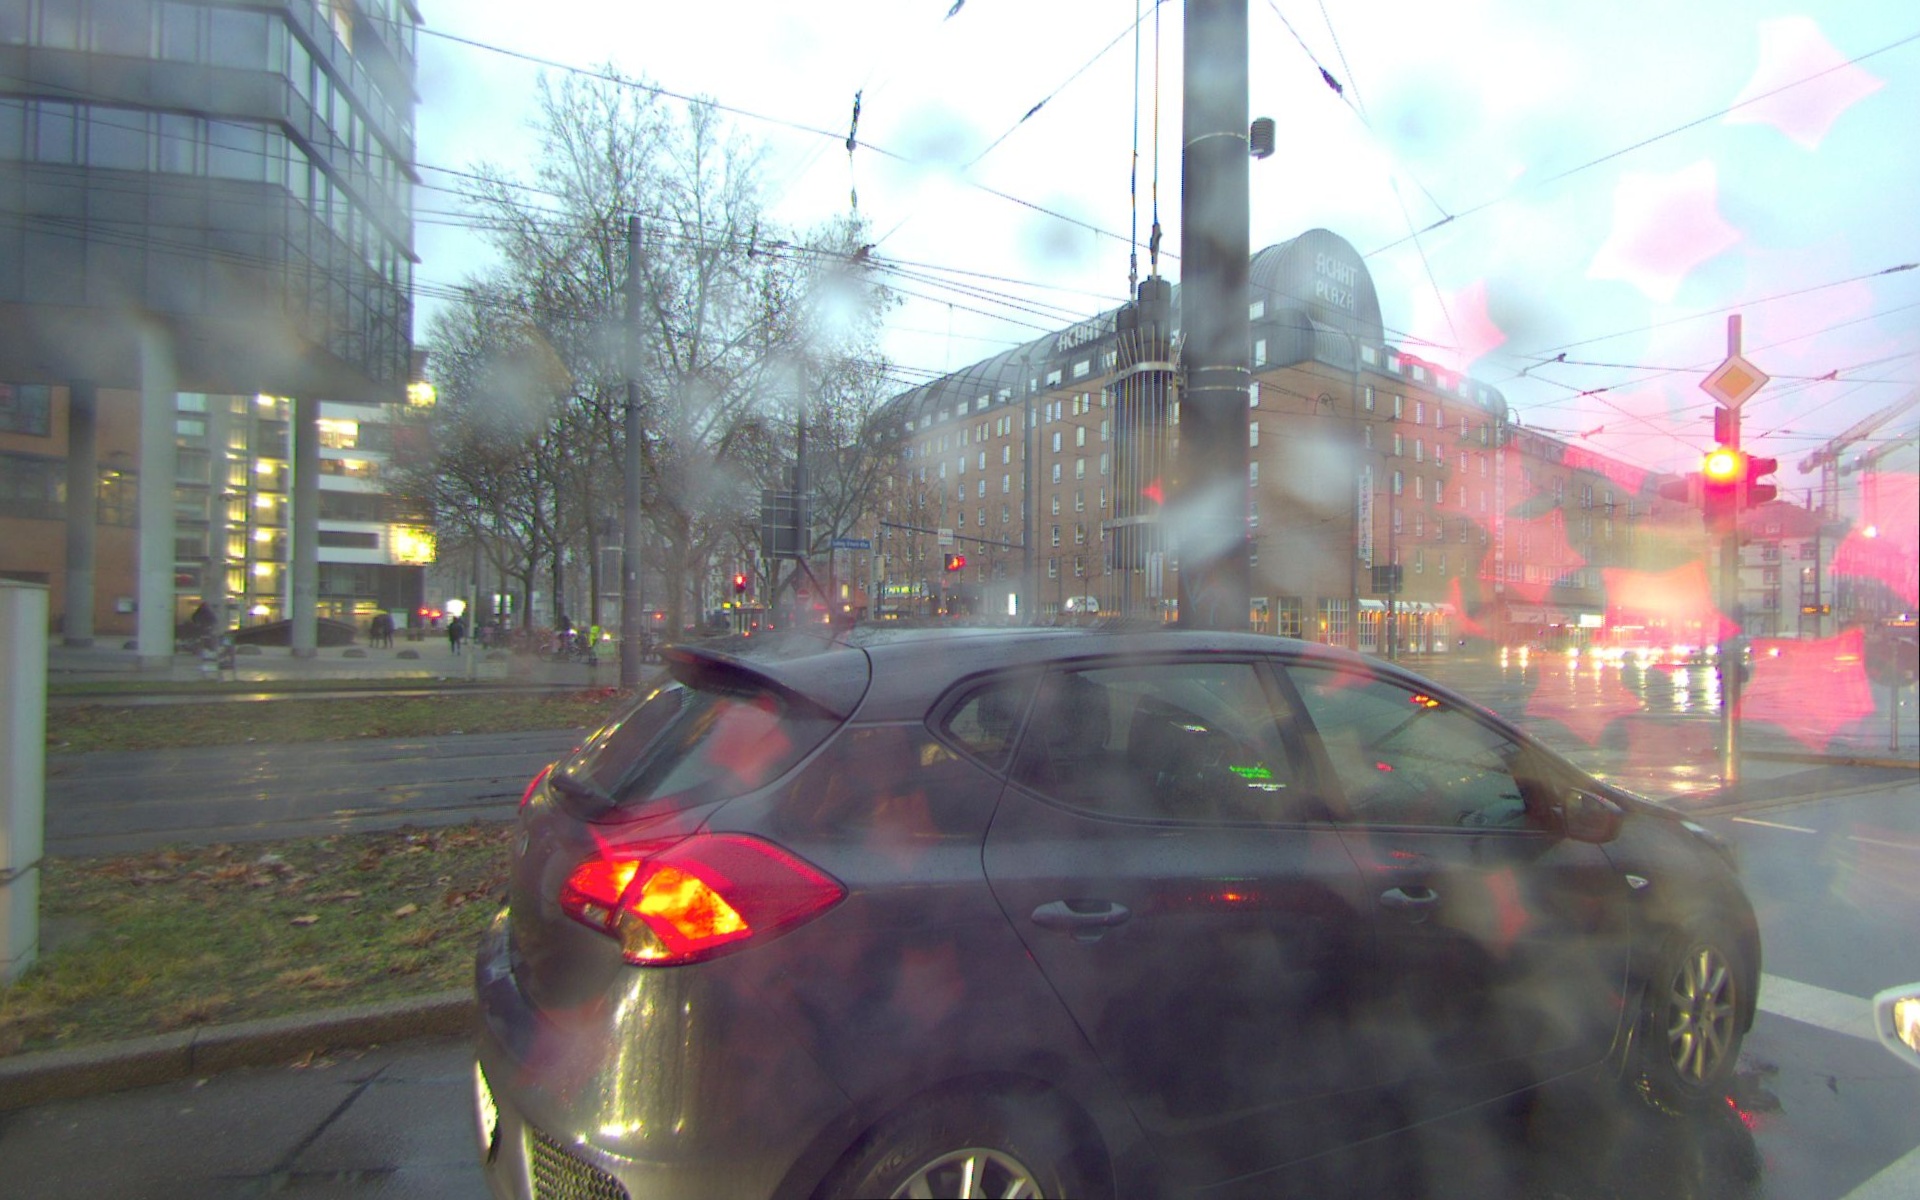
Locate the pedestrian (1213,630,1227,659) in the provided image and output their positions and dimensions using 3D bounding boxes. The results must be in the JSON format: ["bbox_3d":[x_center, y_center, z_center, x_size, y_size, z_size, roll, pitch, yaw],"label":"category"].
[{"bbox_3d":[14.445,2.464,55.719,0.566,1.558,0.517,1,-1,-21],"label":"pedestrian"}]

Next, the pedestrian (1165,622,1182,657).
[{"bbox_3d":[12.399,2.289,58.315,0.746,2.040,0.705,1,-1,-14],"label":"pedestrian"}]

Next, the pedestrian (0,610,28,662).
[{"bbox_3d":[-28.113,1.050,29.627,0.683,1.523,0.650,1,-1,-21],"label":"pedestrian"}]

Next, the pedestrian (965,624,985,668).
[{"bbox_3d":[0.715,2.186,47.836,0.746,2.040,0.798,1,-1,-14],"label":"pedestrian"}]

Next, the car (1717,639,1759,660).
[{"bbox_3d":[53.827,3.414,69.491,3.519,1.372,1.667,2,-1,-41],"label":"car"}]

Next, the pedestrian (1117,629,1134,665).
[{"bbox_3d":[9.391,2.651,57.079,0.746,2.040,0.705,1,-1,-14],"label":"pedestrian"}]

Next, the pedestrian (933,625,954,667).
[{"bbox_3d":[-0.815,2.256,49.417,0.696,2.040,0.757,0,-2,36],"label":"pedestrian"}]

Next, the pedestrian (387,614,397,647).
[{"bbox_3d":[-30.600,1.659,54.079,0.441,1.774,0.649,1,-1,-30],"label":"pedestrian"}]

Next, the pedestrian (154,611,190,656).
[{"bbox_3d":[-31.194,1.318,39.762,0.680,1.731,0.926,0,-1,-1],"label":"pedestrian"}]

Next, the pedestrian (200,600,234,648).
[{"bbox_3d":[-27.108,0.895,36.657,0.680,1.731,0.728,0,-1,-1],"label":"pedestrian"}]

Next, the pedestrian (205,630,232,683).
[{"bbox_3d":[-18.427,1.395,24.967,0.491,1.281,0.442,2,0,-34],"label":"pedestrian"}]

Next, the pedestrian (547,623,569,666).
[{"bbox_3d":[-16.315,1.809,40.760,0.551,1.706,0.597,0,-1,27],"label":"pedestrian"}]

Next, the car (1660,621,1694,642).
[{"bbox_3d":[73.311,3.198,102.668,3.968,2.040,1.976,2,0,-41],"label":"car"}]

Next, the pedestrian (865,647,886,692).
[{"bbox_3d":[-3.882,3.167,46.139,0.750,2.040,0.702,1,-2,-28],"label":"pedestrian"}]

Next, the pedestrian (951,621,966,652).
[{"bbox_3d":[-0.073,2.456,67.878,0.712,2.040,0.740,2,-2,-33],"label":"pedestrian"}]

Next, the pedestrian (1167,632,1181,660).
[{"bbox_3d":[12.172,2.603,57.093,0.566,1.558,0.517,1,-1,-21],"label":"pedestrian"}]

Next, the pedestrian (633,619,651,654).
[{"bbox_3d":[-18.749,2.166,59.206,0.696,2.040,0.757,0,-2,36],"label":"pedestrian"}]

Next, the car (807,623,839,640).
[{"bbox_3d":[-14.856,3.361,108.919,2.085,1.806,3.673,2,-2,-32],"label":"car"}]

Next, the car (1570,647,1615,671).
[{"bbox_3d":[43.102,4.003,68.460,3.566,1.515,1.569,2,-2,-40],"label":"car"}]

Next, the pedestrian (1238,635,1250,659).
[{"bbox_3d":[18.537,3.079,65.516,0.566,1.558,0.517,1,-1,-21],"label":"pedestrian"}]

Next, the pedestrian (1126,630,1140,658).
[{"bbox_3d":[9.755,2.488,56.611,0.566,1.558,0.517,1,-1,-21],"label":"pedestrian"}]

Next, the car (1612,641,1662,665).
[{"bbox_3d":[44.598,3.491,66.147,4.166,1.515,1.654,2,-2,-40],"label":"car"}]

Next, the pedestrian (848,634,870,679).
[{"bbox_3d":[-4.604,2.577,45.775,0.750,2.040,0.702,1,-2,-28],"label":"pedestrian"}]

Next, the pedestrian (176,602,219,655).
[{"bbox_3d":[-27.205,1.016,35.841,0.904,1.870,0.775,0,-1,-1],"label":"pedestrian"}]

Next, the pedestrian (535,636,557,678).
[{"bbox_3d":[-16.927,2.326,41.073,0.551,1.706,0.597,0,-1,27],"label":"pedestrian"}]

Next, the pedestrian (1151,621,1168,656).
[{"bbox_3d":[12.020,2.319,60.579,0.746,2.040,0.705,1,-1,-14],"label":"pedestrian"}]

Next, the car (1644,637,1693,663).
[{"bbox_3d":[50.244,3.532,71.230,4.669,1.732,1.813,2,-2,-41],"label":"car"}]

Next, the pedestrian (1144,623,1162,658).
[{"bbox_3d":[11.196,2.331,58.194,0.701,2.040,0.751,2,-2,-36],"label":"pedestrian"}]

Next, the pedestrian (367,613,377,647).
[{"bbox_3d":[-31.209,1.581,53.320,0.441,1.774,0.649,1,-1,-30],"label":"pedestrian"}]

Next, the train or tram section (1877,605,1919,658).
[{"bbox_3d":[70.661,2.368,74.034,12.156,3.637,2.925,2,0,-40],"label":"train or tram section"}]

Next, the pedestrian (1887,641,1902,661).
[{"bbox_3d":[56.058,3.082,60.282,0.486,1.168,0.575,2,0,-39],"label":"pedestrian"}]

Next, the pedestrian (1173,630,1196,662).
[{"bbox_3d":[13.799,2.818,61.785,1.144,1.924,0.856,1,-1,-21],"label":"pedestrian"}]

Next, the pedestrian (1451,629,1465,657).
[{"bbox_3d":[36.251,3.140,73.084,0.919,2.040,0.758,0,-2,27],"label":"pedestrian"}]

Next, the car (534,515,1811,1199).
[{"bbox_3d":[0.777,0.726,3.123,3.715,1.593,1.673,1,-2,-29],"label":"car"}]

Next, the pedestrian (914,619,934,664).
[{"bbox_3d":[-1.619,1.885,45.558,0.746,2.040,0.705,1,-1,-14],"label":"pedestrian"}]

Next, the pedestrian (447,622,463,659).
[{"bbox_3d":[-23.493,1.896,46.751,0.556,1.706,0.592,1,-1,-34],"label":"pedestrian"}]

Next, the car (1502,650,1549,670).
[{"bbox_3d":[41.048,4.312,72.904,4.194,1.339,1.598,2,-2,-40],"label":"car"}]
